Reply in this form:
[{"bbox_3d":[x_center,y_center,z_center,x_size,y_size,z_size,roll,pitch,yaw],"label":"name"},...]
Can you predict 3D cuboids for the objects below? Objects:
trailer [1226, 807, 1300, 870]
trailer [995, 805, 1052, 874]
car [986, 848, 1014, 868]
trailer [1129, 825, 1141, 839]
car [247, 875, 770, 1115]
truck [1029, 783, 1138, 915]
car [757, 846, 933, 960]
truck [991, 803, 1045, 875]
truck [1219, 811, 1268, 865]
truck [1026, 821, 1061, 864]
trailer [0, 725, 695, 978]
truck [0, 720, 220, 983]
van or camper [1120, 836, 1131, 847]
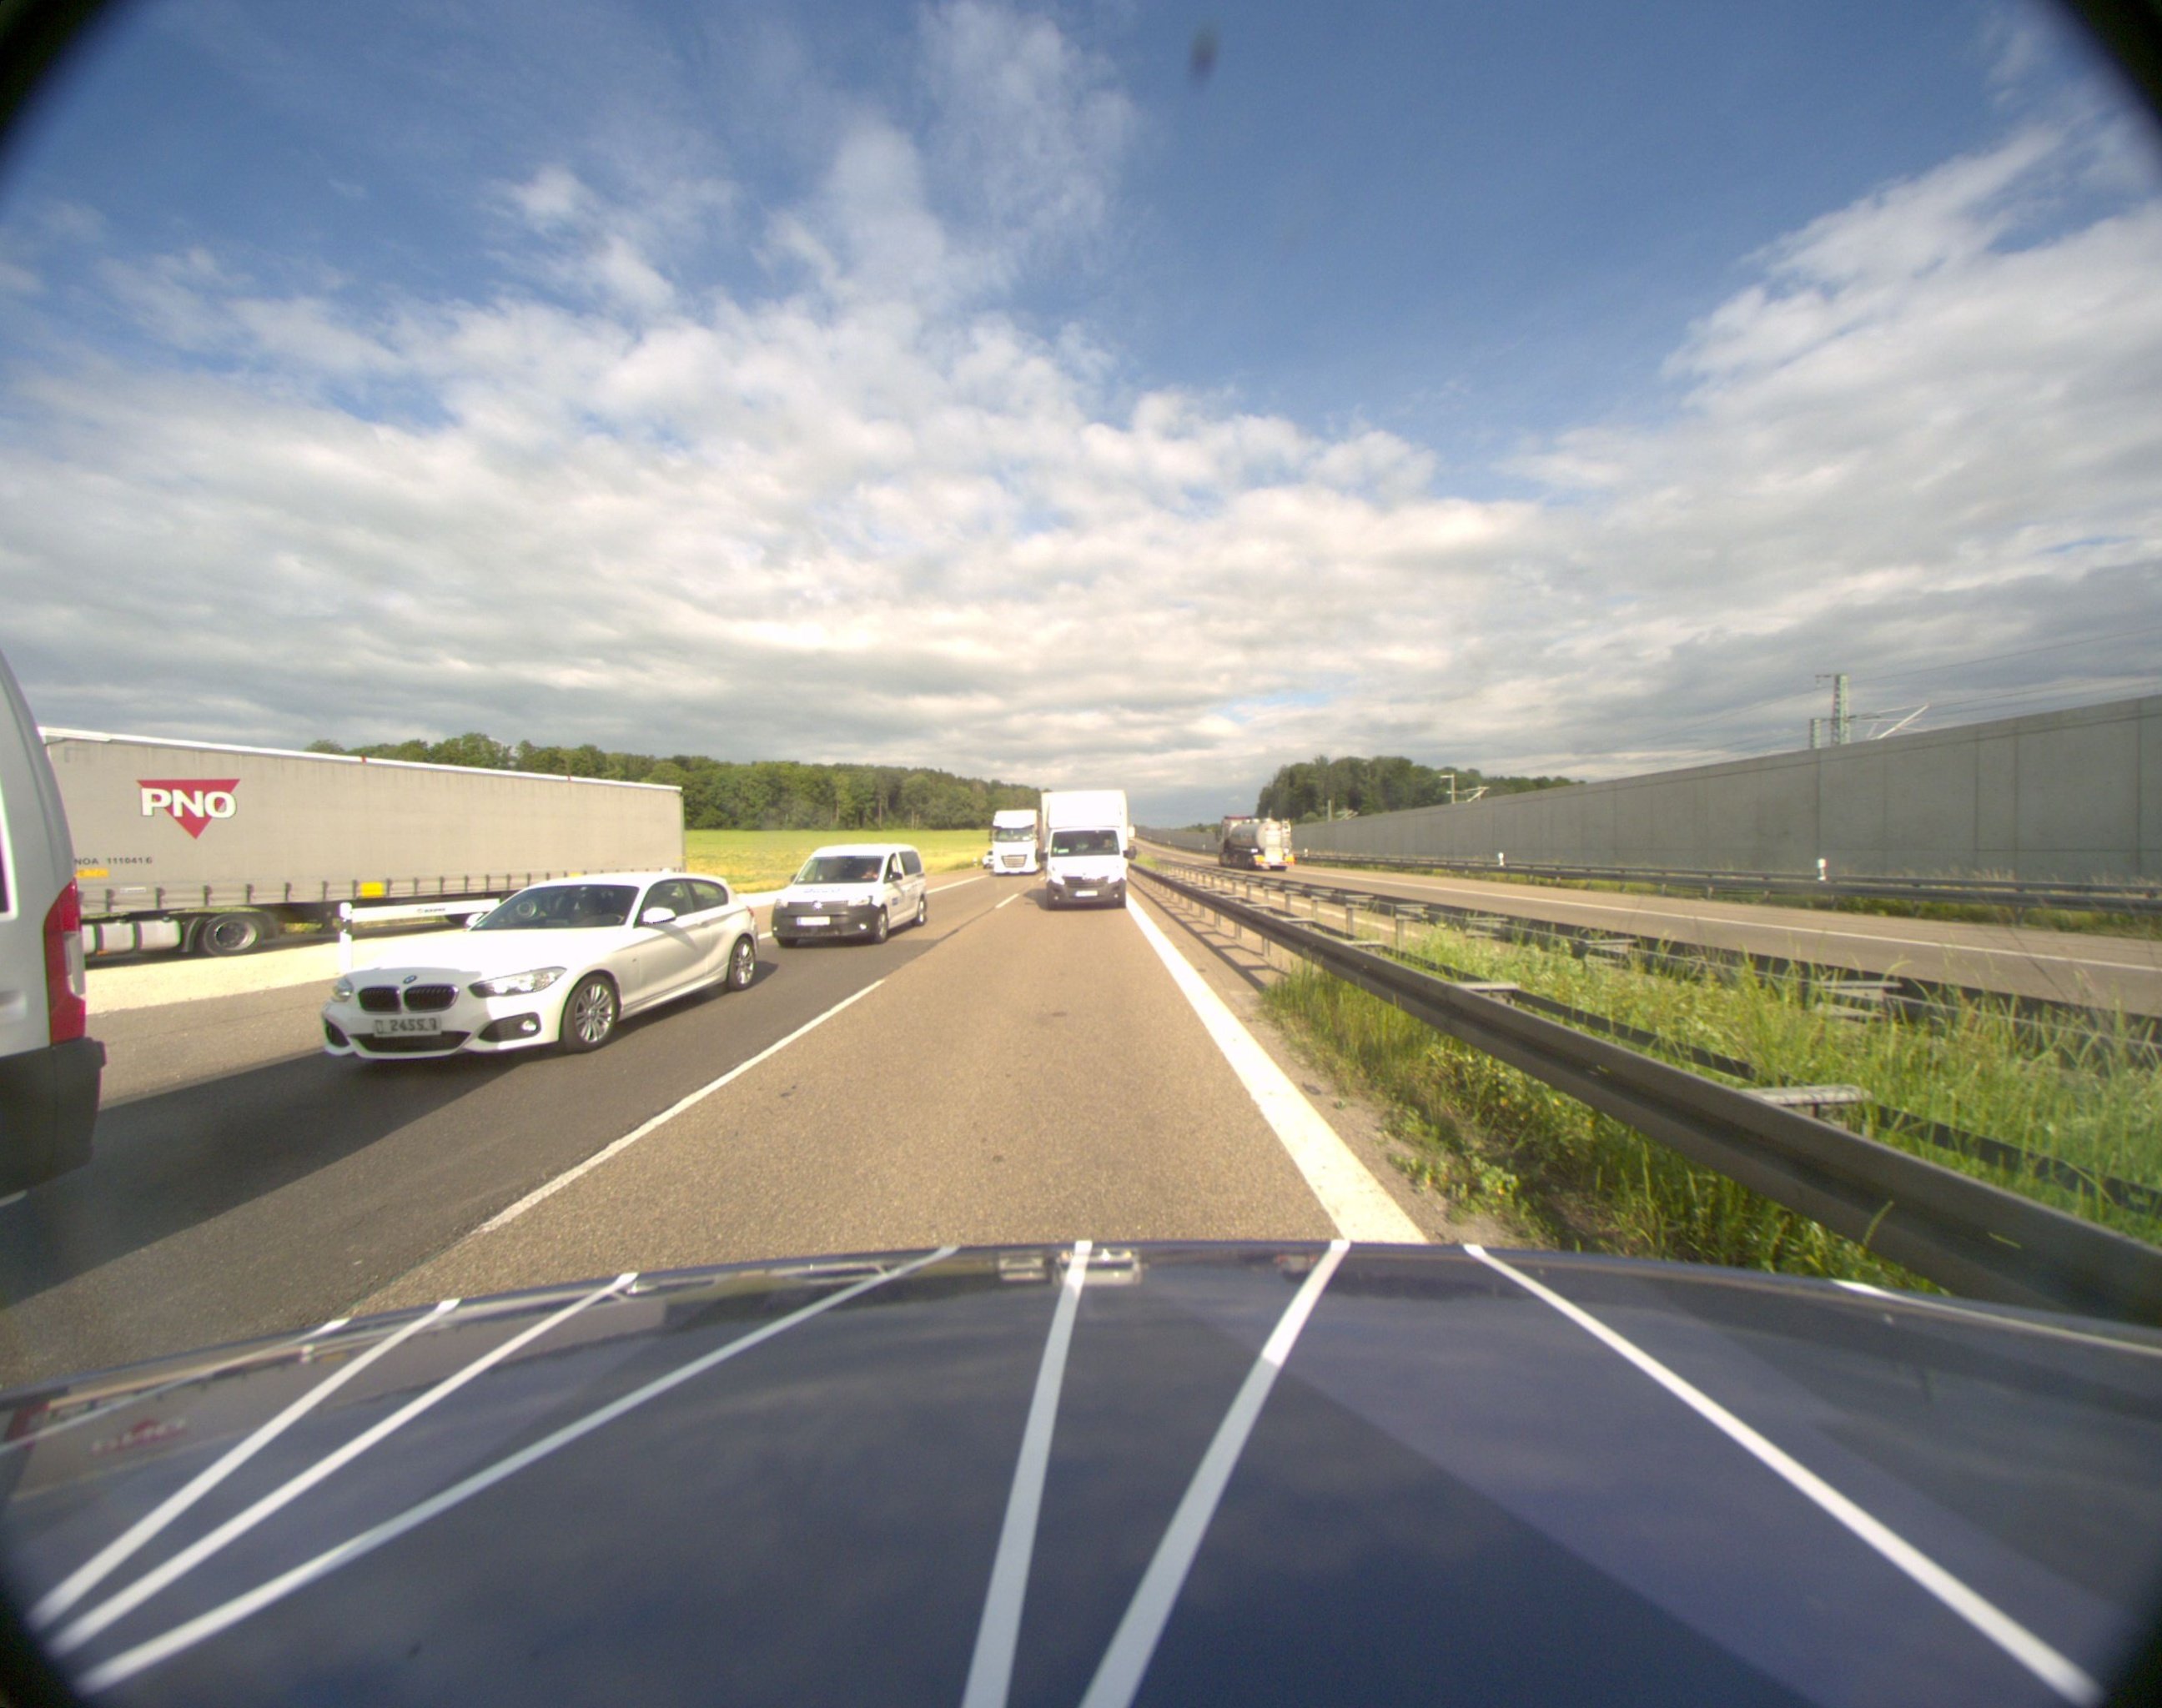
[{"bbox_3d":[12.250,-0.983,52.296,2.594,3.879,10.863,0,1,1],"label":"trailer"},{"bbox_3d":[-3.829,-1.064,54.050,2.742,4.137,14.015,-2,1,0],"label":"trailer"},{"bbox_3d":[-6.947,0.277,65.233,1.808,1.583,4.675,-1,1,1],"label":"car"},{"bbox_3d":[16.276,-6.620,230.248,2.797,4.054,13.518,0,1,0],"label":"trailer"},{"bbox_3d":[-4.762,1.019,7.286,1.708,1.424,4.231,-2,1,1],"label":"car"},{"bbox_3d":[0.111,-0.174,24.351,2.500,3.082,12.037,-2,1,0],"label":"truck"},{"bbox_3d":[-4.231,0.763,14.514,1.729,1.746,4.702,-2,1,1],"label":"car"},{"bbox_3d":[-3.859,-0.925,47.774,2.736,4.150,5.766,-2,2,1],"label":"truck"},{"bbox_3d":[12.293,-1.159,57.798,2.589,3.900,5.721,0,1,1],"label":"truck"},{"bbox_3d":[-3.769,-1.217,80.021,2.946,4.094,12.523,-1,1,0],"label":"truck"},{"bbox_3d":[-16.374,-0.102,19.465,2.739,4.136,13.843,-2,0,16],"label":"trailer"},{"bbox_3d":[-18.331,-0.002,12.429,2.717,4.149,4.765,-2,1,16],"label":"truck"},{"bbox_3d":[10.885,-3.014,185.361,2.258,2.688,7.169,-1,1,0],"label":"van or camper"}]
